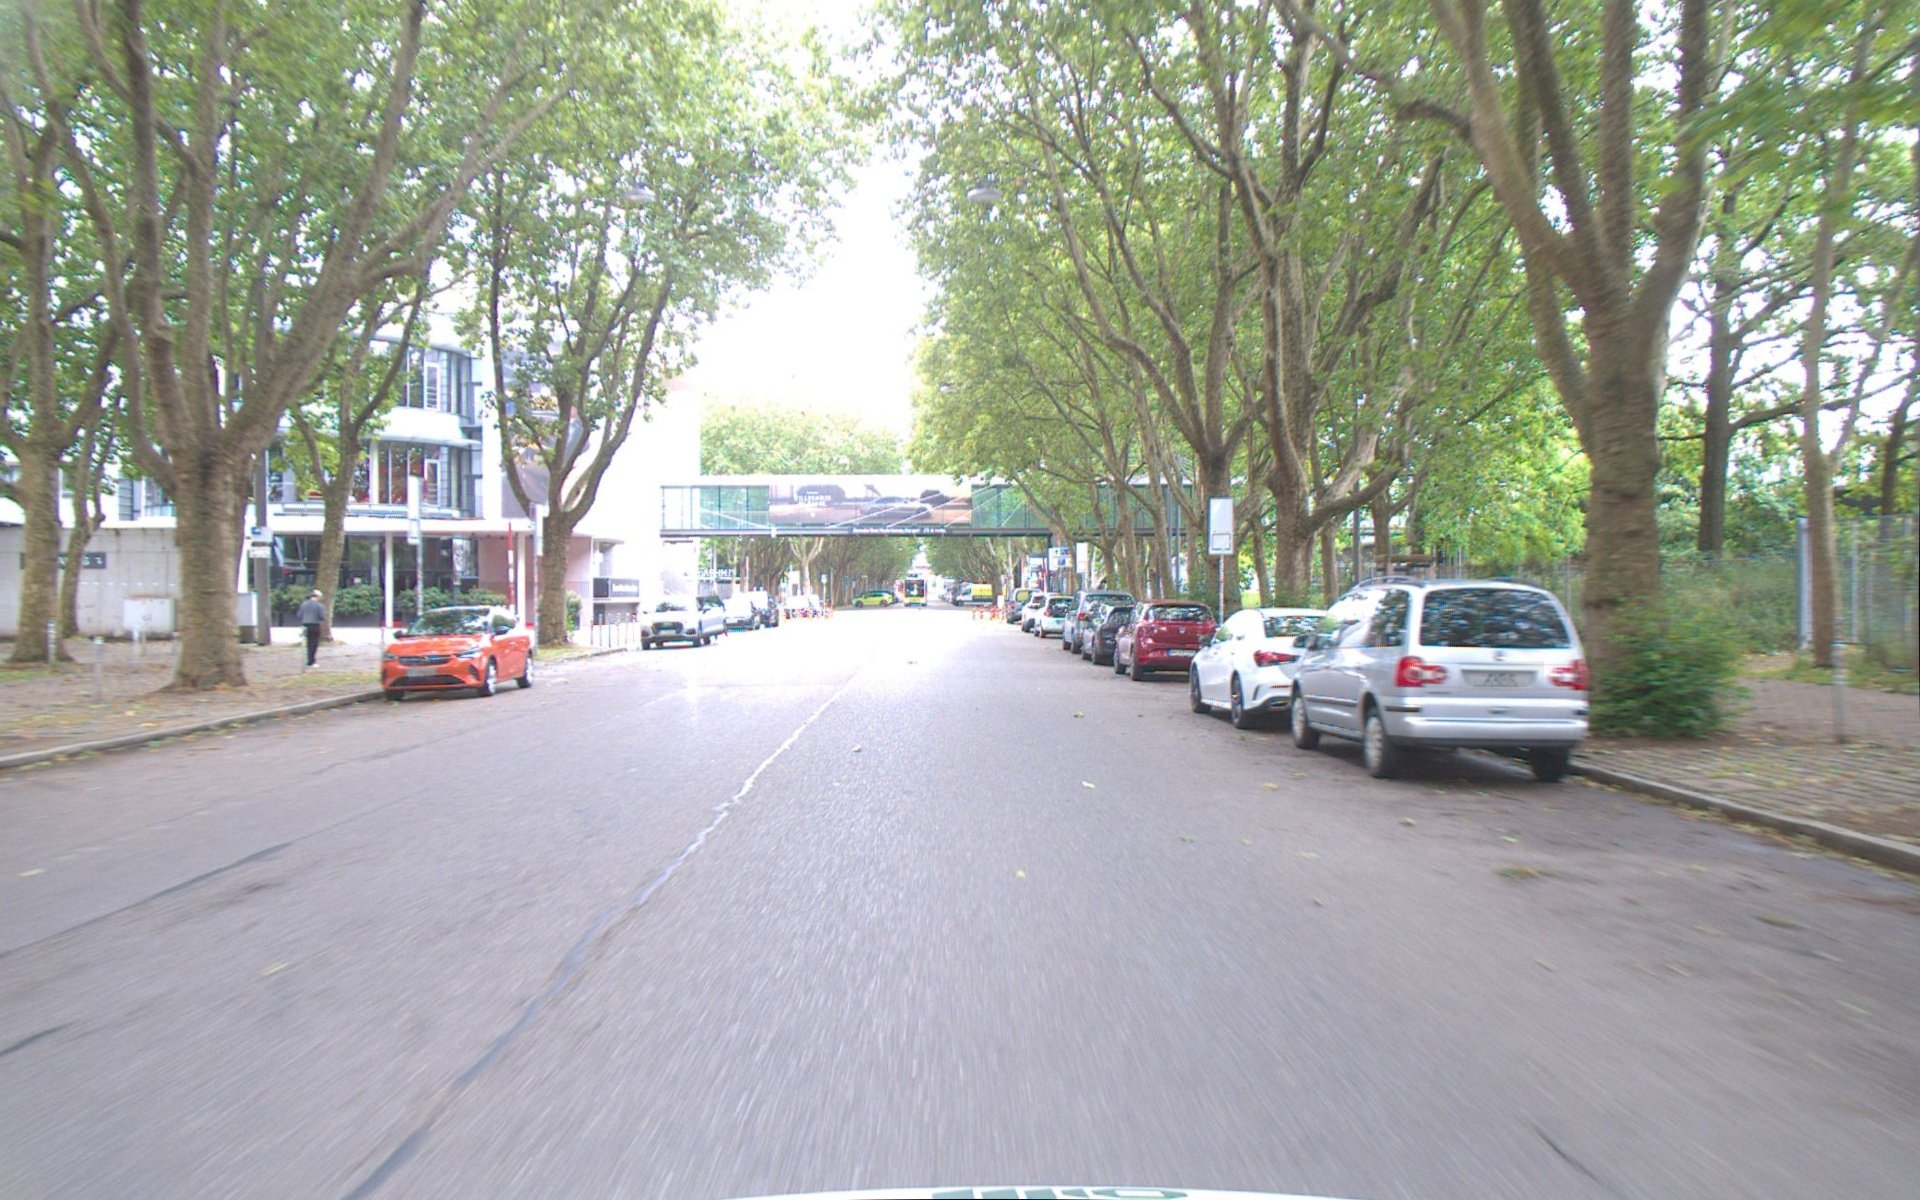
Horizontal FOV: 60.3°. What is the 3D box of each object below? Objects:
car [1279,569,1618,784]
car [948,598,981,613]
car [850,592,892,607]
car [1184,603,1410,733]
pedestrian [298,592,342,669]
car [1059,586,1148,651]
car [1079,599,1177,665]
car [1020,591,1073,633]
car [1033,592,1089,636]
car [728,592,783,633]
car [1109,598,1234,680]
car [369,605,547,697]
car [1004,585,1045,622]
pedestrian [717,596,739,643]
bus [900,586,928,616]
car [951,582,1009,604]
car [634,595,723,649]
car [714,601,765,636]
[{"bbox_3d":[4.466,0.622,15.889,1.864,1.769,4.505,0,0,-1],"label":"car"},{"bbox_3d":[0.542,0.699,202.652,3.906,1.825,1.542,0,0,-2],"label":"car"},{"bbox_3d":[-9.925,-0.024,184.902,4.604,1.612,1.864,0,0,0],"label":"car"},{"bbox_3d":[4.160,0.774,21.190,1.839,1.452,4.584,0,0,-2],"label":"car"},{"bbox_3d":[-13.909,0.649,35.935,0.580,1.648,0.792,0,0,8],"label":"pedestrian"},{"bbox_3d":[3.935,0.489,46.027,1.941,1.709,4.729,0,0,-2],"label":"car"},{"bbox_3d":[3.911,0.705,39.127,1.839,1.452,4.479,0,0,0],"label":"car"},{"bbox_3d":[3.547,0.487,68.577,1.875,1.646,4.748,0,0,-1],"label":"car"},{"bbox_3d":[3.669,0.506,60.711,1.771,1.553,4.095,0,0,-1],"label":"car"},{"bbox_3d":[-9.894,0.580,80.310,1.993,1.820,4.907,-3,0,-1],"label":"car"},{"bbox_3d":[4.075,0.710,32.457,1.819,1.507,4.176,0,0,-1],"label":"car"},{"bbox_3d":[-8.256,0.796,27.562,1.771,1.378,3.999,0,0,-1],"label":"car"},{"bbox_3d":[3.263,0.168,84.905,1.810,1.814,5.210,1,0,-1],"label":"car"},{"bbox_3d":[-7.444,0.635,53.127,0.571,1.492,0.567,1,0,2],"label":"pedestrian"},{"bbox_3d":[-5.309,0.136,190.647,2.977,3.215,12.672,-2,0,-2],"label":"bus"},{"bbox_3d":[2.310,-0.817,195.241,6.687,2.557,2.315,0,0,-3],"label":"car"},{"bbox_3d":[-8.748,0.640,51.826,2.031,1.590,4.755,0,0,-1],"label":"car"},{"bbox_3d":[-9.930,0.812,74.696,1.670,1.444,4.324,-3,0,-1],"label":"car"}]
